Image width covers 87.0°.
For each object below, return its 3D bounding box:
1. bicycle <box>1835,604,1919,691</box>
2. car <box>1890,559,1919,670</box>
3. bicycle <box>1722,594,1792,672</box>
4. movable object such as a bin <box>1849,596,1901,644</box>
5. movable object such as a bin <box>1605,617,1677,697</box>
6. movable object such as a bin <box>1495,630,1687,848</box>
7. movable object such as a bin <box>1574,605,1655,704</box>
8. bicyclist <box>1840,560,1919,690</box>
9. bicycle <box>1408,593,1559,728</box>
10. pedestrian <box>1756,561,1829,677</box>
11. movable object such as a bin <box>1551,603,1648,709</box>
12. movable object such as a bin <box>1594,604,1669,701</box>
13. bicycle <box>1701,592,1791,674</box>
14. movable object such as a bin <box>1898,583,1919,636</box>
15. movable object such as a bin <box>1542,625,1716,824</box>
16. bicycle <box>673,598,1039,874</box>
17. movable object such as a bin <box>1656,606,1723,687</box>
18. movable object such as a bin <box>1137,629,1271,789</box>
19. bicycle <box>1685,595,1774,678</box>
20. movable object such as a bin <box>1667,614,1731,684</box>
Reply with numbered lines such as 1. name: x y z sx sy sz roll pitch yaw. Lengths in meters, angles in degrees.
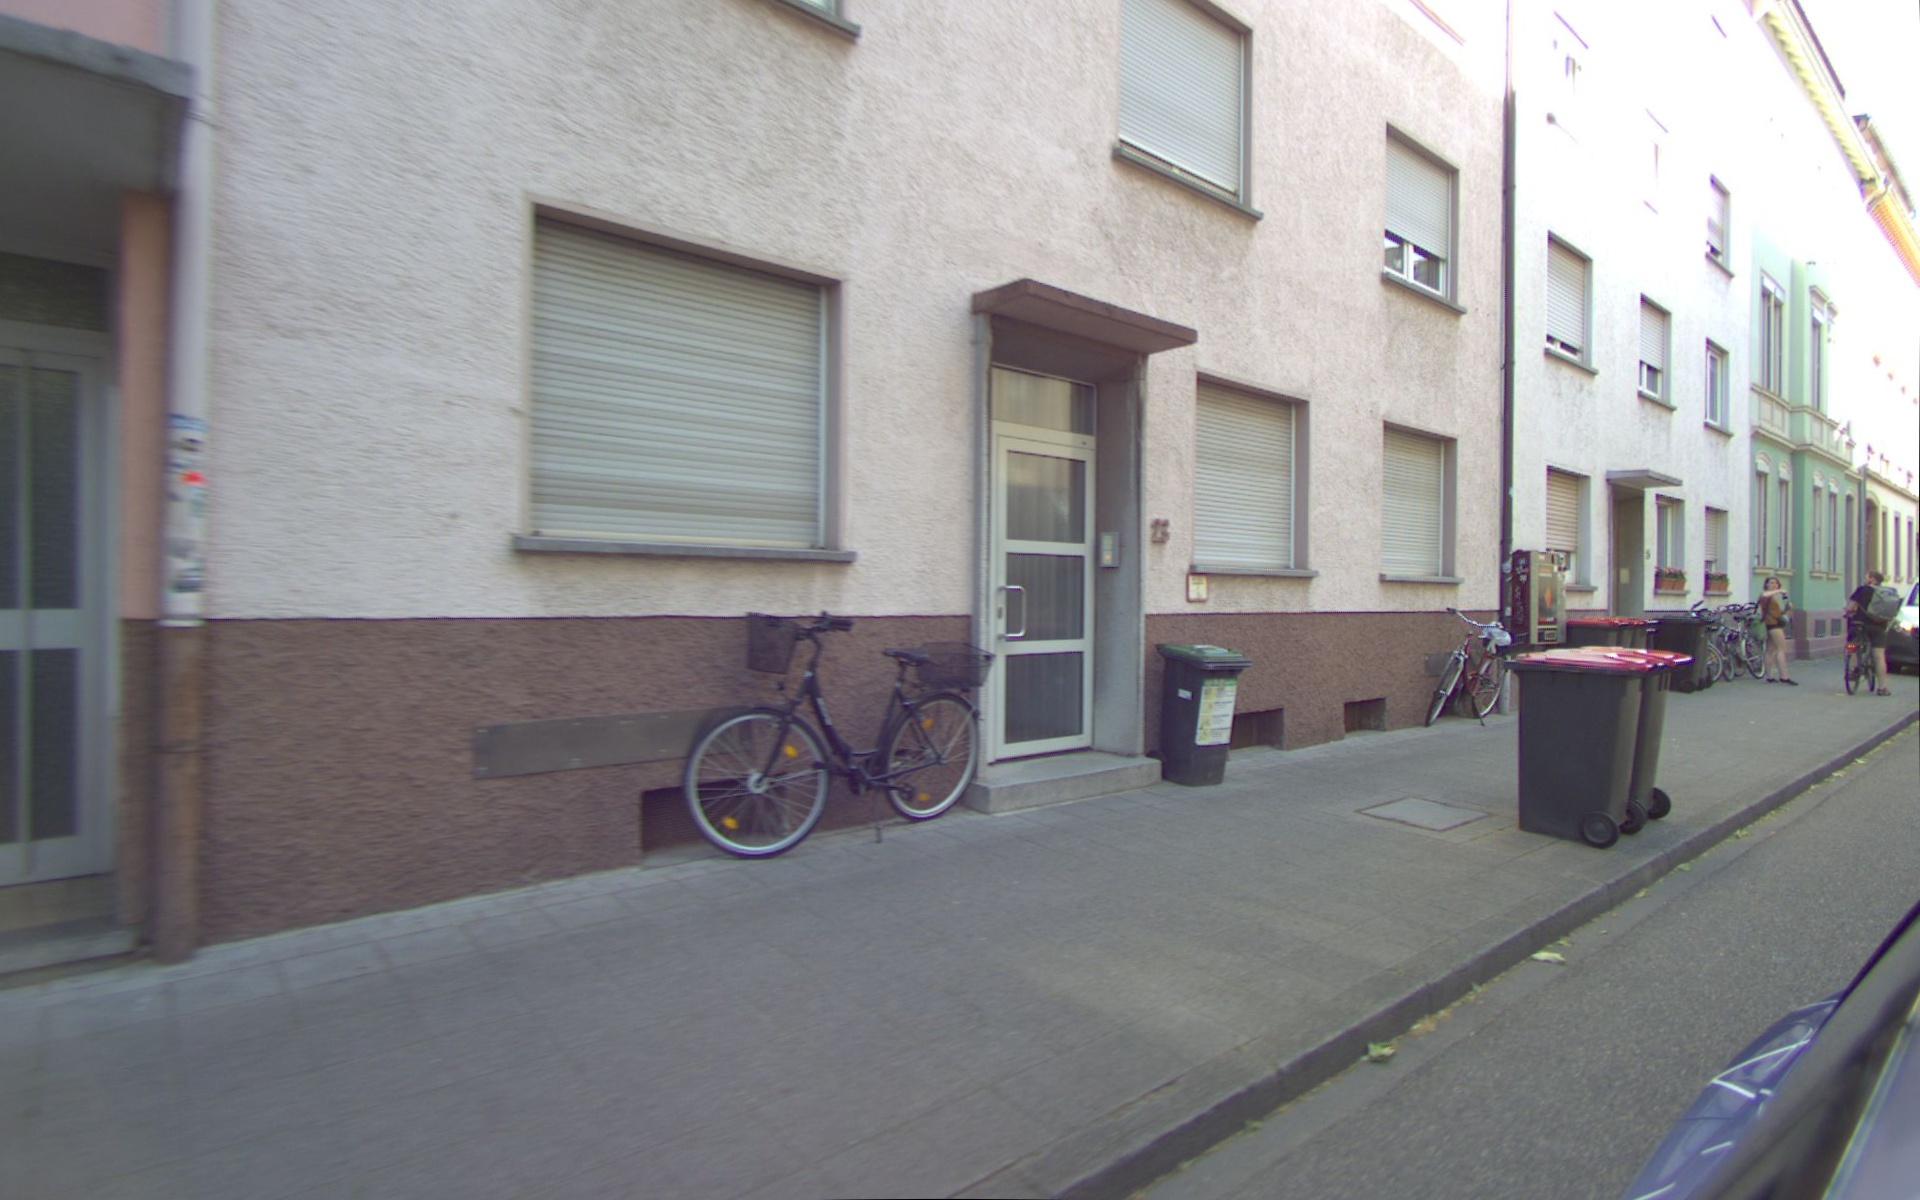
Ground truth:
1. bicycle: 13.336 0.656 14.694 1.954 1.150 0.664 1 3 -42
2. car: 19.266 0.298 18.960 5.501 1.906 1.988 0 4 -41
3. bicycle: 13.459 0.523 17.067 2.120 1.221 0.406 -1 1 -37
4. movable object such as a bin: 21.609 0.457 23.900 0.661 1.102 0.814 -1 1 -38
5. movable object such as a bin: 8.678 0.708 12.895 0.594 0.946 0.607 0 1 -39
6. movable object such as a bin: 3.651 0.750 5.870 0.680 1.100 0.769 -1 1 -39
7. movable object such as a bin: 7.820 0.626 12.091 0.582 1.119 0.658 0 1 -39
8. bicyclist: 13.369 0.344 14.664 0.808 1.792 0.761 1 2 -42
9. bicycle: 5.213 0.540 10.020 2.040 1.184 0.538 0 5 -41
10. pedestrian: 12.857 0.274 15.644 0.672 1.733 0.658 -1 1 -28
11. movable object such as a bin: 7.385 0.623 11.701 0.628 1.110 0.741 -1 4 -39
12. movable object such as a bin: 8.248 0.627 12.440 0.559 1.136 0.629 -1 1 -39
13. bicycle: 12.539 0.493 16.118 2.222 1.221 0.439 -1 1 -34
14. movable object such as a bin: 27.085 0.270 28.475 1.275 1.406 0.839 -3 5 -41
15. movable object such as a bin: 4.178 0.729 6.332 0.691 1.094 0.734 -1 1 -39
16. bicycle: -0.455 0.589 5.131 1.885 1.148 0.454 -1 3 -39
17. movable object such as a bin: 10.284 0.643 14.274 0.592 1.075 0.617 0 2 -40
18. movable object such as a bin: 1.642 0.700 6.817 0.670 0.963 0.599 -1 1 -39
19. bicycle: 11.734 0.524 15.412 1.833 1.168 0.570 -1 1 -36
20. movable object such as a bin: 10.722 0.698 14.683 0.597 0.936 0.578 0 3 -40
